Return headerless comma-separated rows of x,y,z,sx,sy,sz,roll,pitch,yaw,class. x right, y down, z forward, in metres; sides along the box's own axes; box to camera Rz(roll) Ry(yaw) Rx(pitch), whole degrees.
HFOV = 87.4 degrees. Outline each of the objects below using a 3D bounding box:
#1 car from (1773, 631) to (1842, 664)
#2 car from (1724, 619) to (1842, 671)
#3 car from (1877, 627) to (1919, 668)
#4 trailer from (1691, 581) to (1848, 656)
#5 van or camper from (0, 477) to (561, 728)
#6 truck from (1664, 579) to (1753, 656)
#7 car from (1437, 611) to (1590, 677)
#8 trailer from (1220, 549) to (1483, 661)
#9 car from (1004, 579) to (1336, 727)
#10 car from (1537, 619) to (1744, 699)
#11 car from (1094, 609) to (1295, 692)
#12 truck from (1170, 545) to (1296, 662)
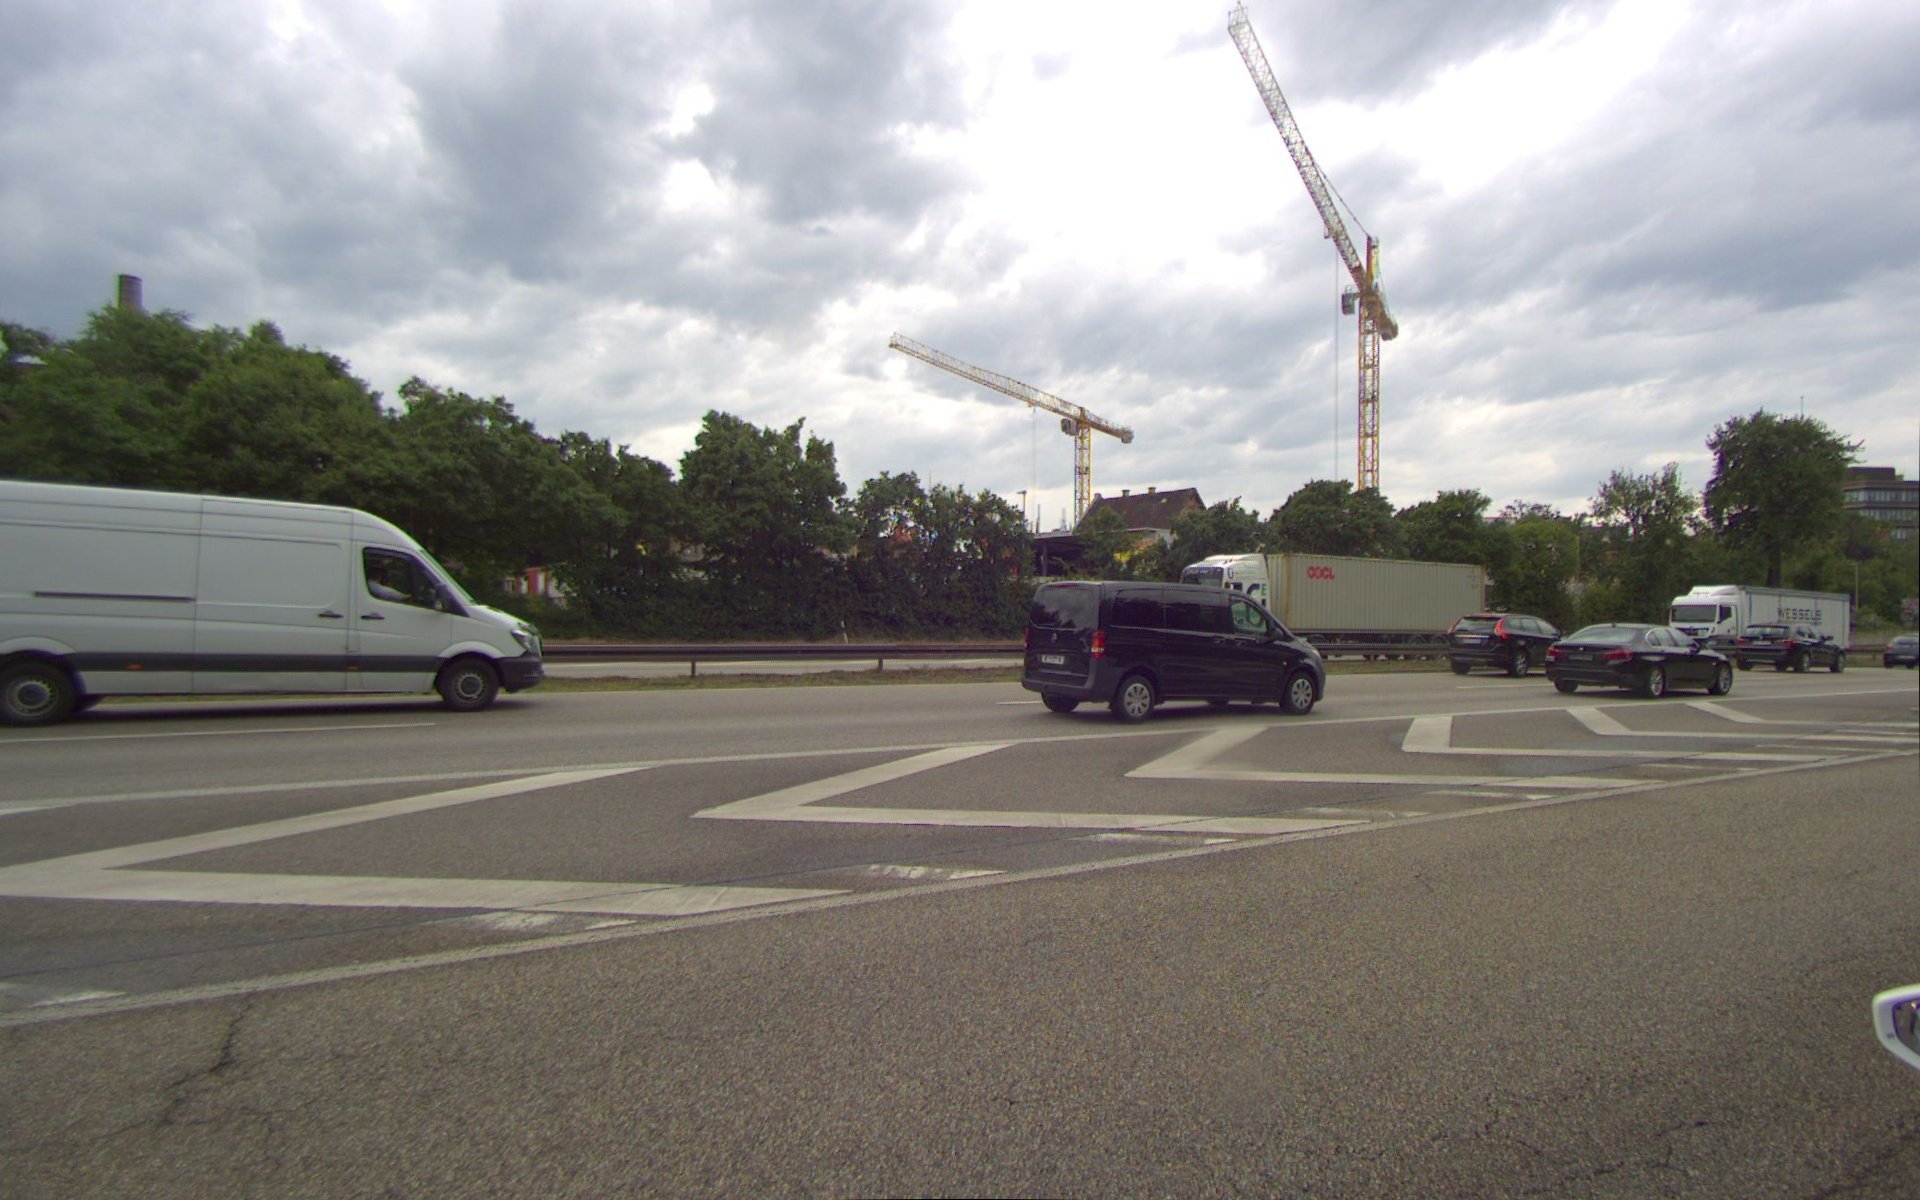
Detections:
42.959,2.374,50.919,3.522,1.605,1.590,1,-1,-30,car
28.610,1.525,34.915,4.257,1.704,1.881,1,-1,-31,car
40.620,1.993,42.445,3.962,1.629,1.679,1,1,-31,car
47.702,1.139,58.964,13.622,4.035,2.581,1,-1,-31,trailer
-8.850,0.078,12.639,6.877,2.656,2.039,1,-1,-31,van or camper
40.956,0.976,54.960,3.953,4.043,2.584,1,-1,-30,truck
15.182,1.180,27.511,4.216,1.657,1.744,1,0,-30,car
16.157,0.319,40.707,12.922,4.082,2.386,1,-1,-30,trailer
3.180,0.721,14.883,4.757,1.876,1.983,1,0,-31,car
14.260,1.181,20.990,4.610,1.476,1.705,1,0,-29,car
4.874,1.010,20.833,3.896,1.588,1.759,1,-1,-29,car
10.110,0.171,37.202,3.952,4.074,2.395,1,-1,-30,truck
